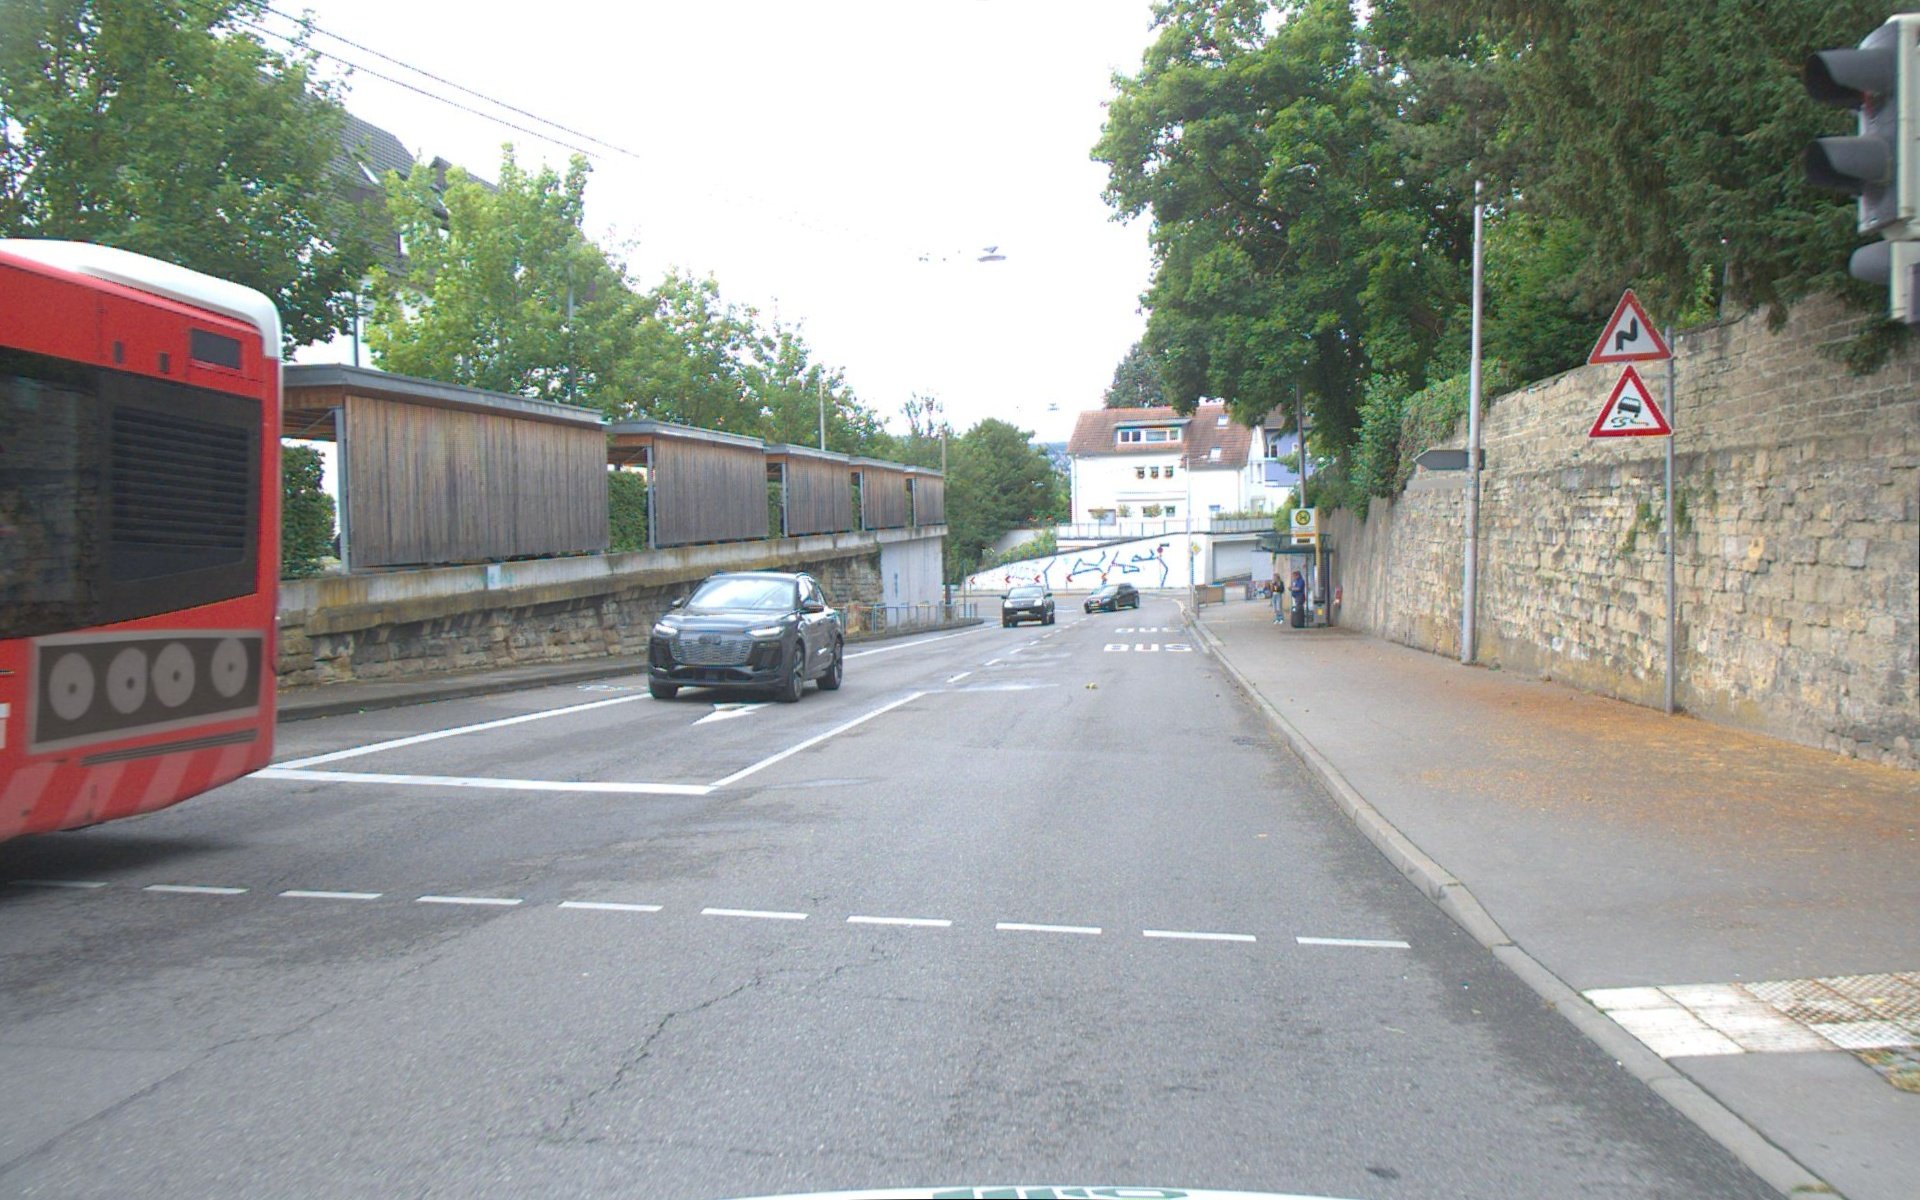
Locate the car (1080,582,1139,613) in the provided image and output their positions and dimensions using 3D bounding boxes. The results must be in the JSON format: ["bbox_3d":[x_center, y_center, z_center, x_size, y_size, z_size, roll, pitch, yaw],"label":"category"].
[{"bbox_3d":[7.911,-0.142,87.273,1.701,1.559,3.996,-2,0,26],"label":"car"}]

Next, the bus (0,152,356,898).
[{"bbox_3d":[-5.553,-0.335,6.038,2.601,3.176,8.299,1,0,8],"label":"bus"}]

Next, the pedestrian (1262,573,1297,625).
[{"bbox_3d":[10.195,-0.028,52.733,0.767,1.615,0.726,-4,1,-42],"label":"pedestrian"}]

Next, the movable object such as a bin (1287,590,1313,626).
[{"bbox_3d":[10.217,0.245,49.729,0.660,1.038,0.627,-2,1,2],"label":"movable object such as a bin"}]

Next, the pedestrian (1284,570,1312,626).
[{"bbox_3d":[10.292,-0.066,50.406,0.706,1.671,0.631,-2,0,2],"label":"pedestrian"}]

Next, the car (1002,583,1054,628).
[{"bbox_3d":[2.910,0.237,69.866,1.854,1.787,4.440,-2,0,6],"label":"car"}]

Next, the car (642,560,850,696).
[{"bbox_3d":[-2.804,0.368,22.755,1.881,1.658,4.525,1,-1,5],"label":"car"}]
